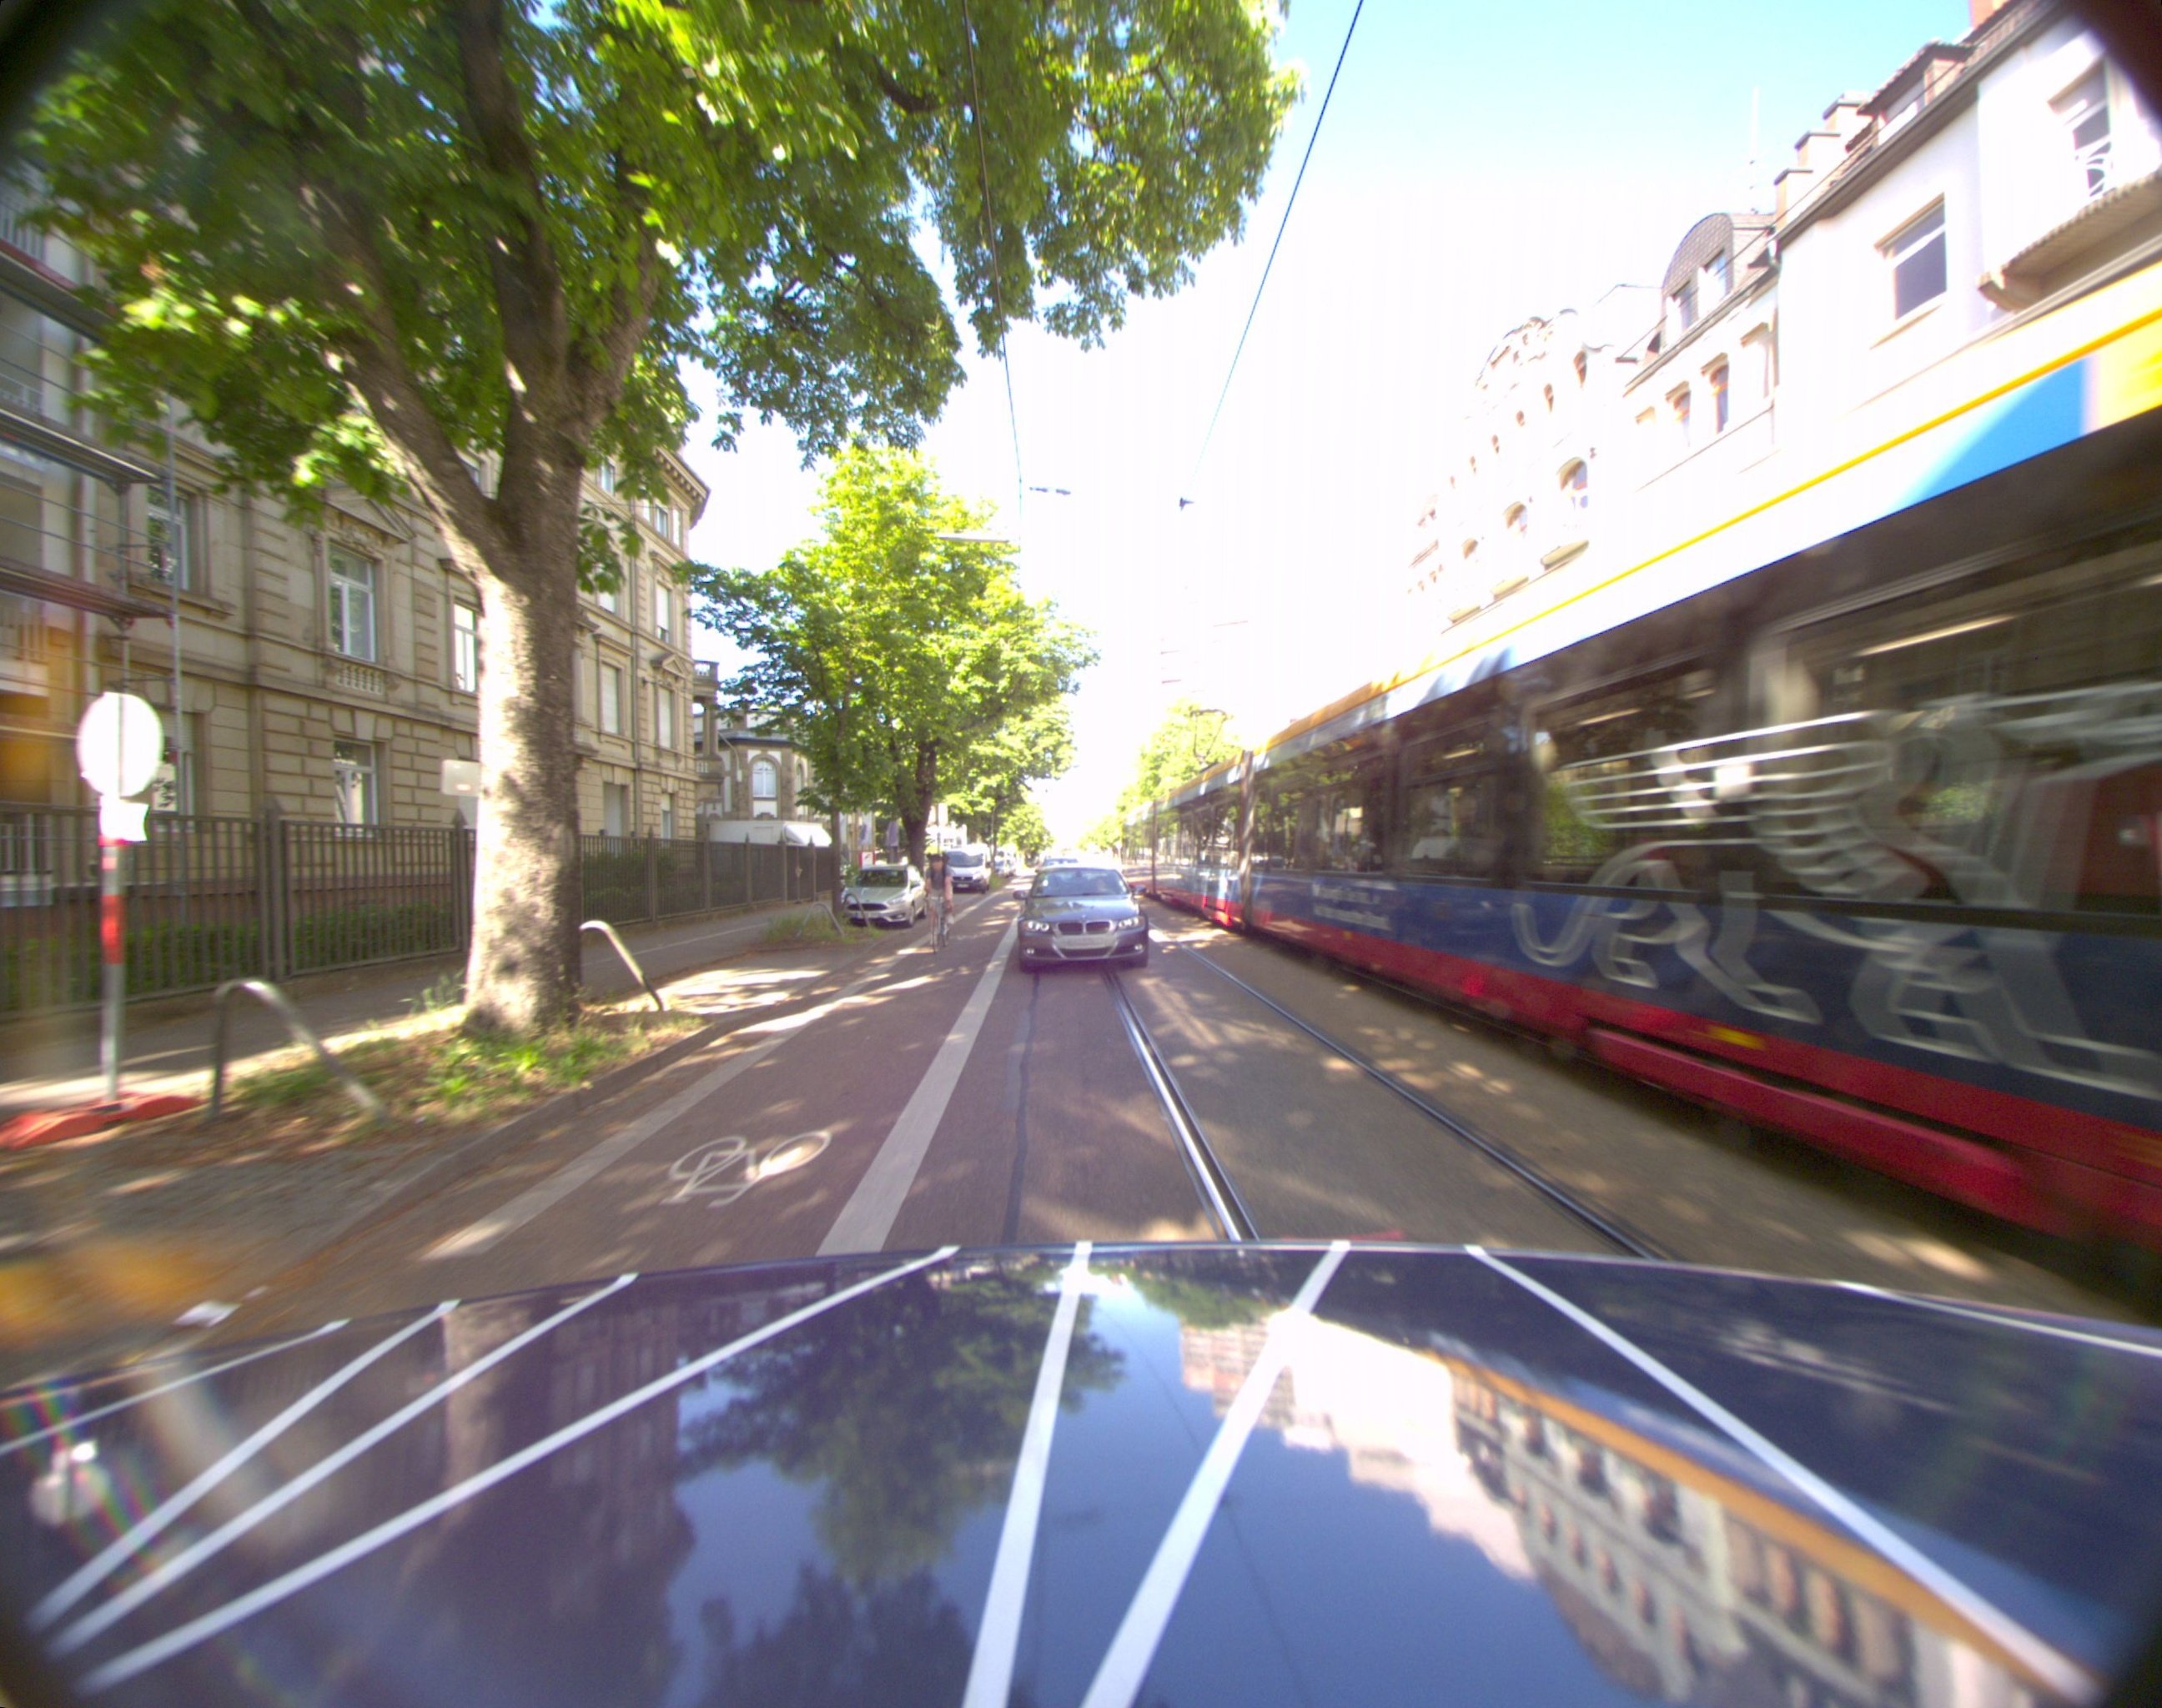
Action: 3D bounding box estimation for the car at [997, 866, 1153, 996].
[{"bbox_3d":[-0.075,0.976,11.369,1.870,1.426,3.999,-2,1,0],"label":"car"}]

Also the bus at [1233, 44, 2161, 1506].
[{"bbox_3d":[4.059,-0.251,5.496,2.858,3.755,12.192,-2,1,-2],"label":"bus"}]

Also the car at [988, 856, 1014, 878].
[{"bbox_3d":[-6.339,0.997,60.568,1.867,1.541,4.100,-1,1,-3],"label":"car"}]

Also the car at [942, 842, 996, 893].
[{"bbox_3d":[-5.420,0.593,37.601,2.132,2.329,5.803,0,1,-3],"label":"car"}]

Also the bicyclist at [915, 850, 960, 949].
[{"bbox_3d":[-2.491,0.764,13.251,0.532,1.660,0.878,-2,1,0],"label":"bicyclist"}]

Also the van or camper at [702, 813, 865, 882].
[{"bbox_3d":[-12.518,-0.223,31.896,6.721,2.612,2.126,-2,1,23],"label":"van or camper"}]

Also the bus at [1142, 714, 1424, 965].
[{"bbox_3d":[3.580,-0.286,17.263,2.867,3.755,11.179,-2,1,-2],"label":"bus"}]

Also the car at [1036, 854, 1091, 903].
[{"bbox_3d":[-0.594,0.852,28.087,1.828,1.559,3.999,-2,1,0],"label":"car"}]

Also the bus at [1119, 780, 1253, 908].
[{"bbox_3d":[3.448,-0.374,28.597,2.867,3.755,11.493,-2,1,-2],"label":"bus"}]

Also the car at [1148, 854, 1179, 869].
[{"bbox_3d":[8.328,0.733,76.854,2.757,1.417,1.226,-2,1,-17],"label":"car"}]

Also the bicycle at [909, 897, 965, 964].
[{"bbox_3d":[-2.472,1.296,13.273,0.535,0.917,2.056,-2,1,1],"label":"bicycle"}]

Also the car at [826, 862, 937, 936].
[{"bbox_3d":[-4.860,1.033,19.100,1.877,1.534,4.364,0,1,-3],"label":"car"}]
